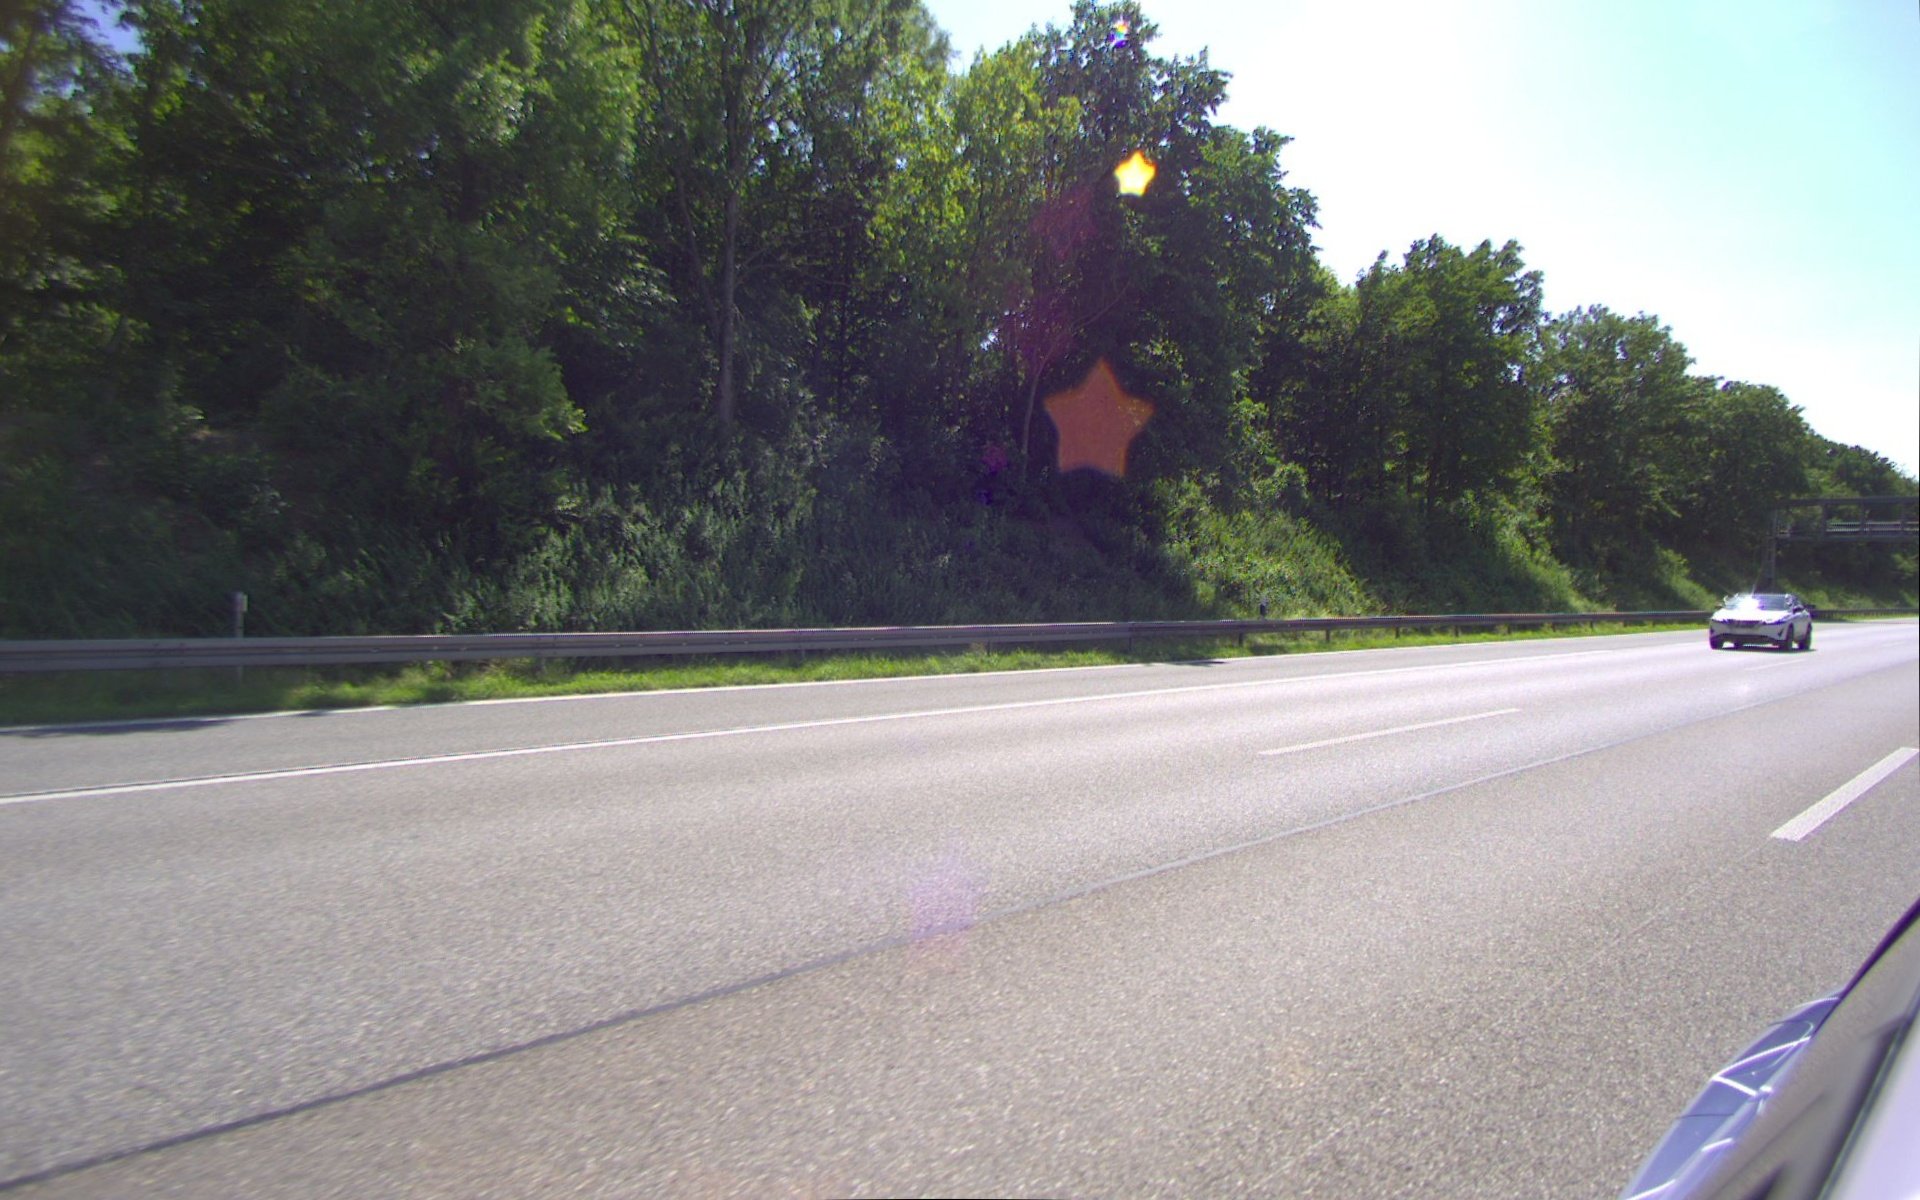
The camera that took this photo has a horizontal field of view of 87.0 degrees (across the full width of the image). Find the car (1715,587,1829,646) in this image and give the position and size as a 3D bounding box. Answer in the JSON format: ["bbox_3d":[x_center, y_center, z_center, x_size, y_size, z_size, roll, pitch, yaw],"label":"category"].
[{"bbox_3d":[23.648,0.446,29.423,3.963,1.588,1.847,0,0,-40],"label":"car"}]
